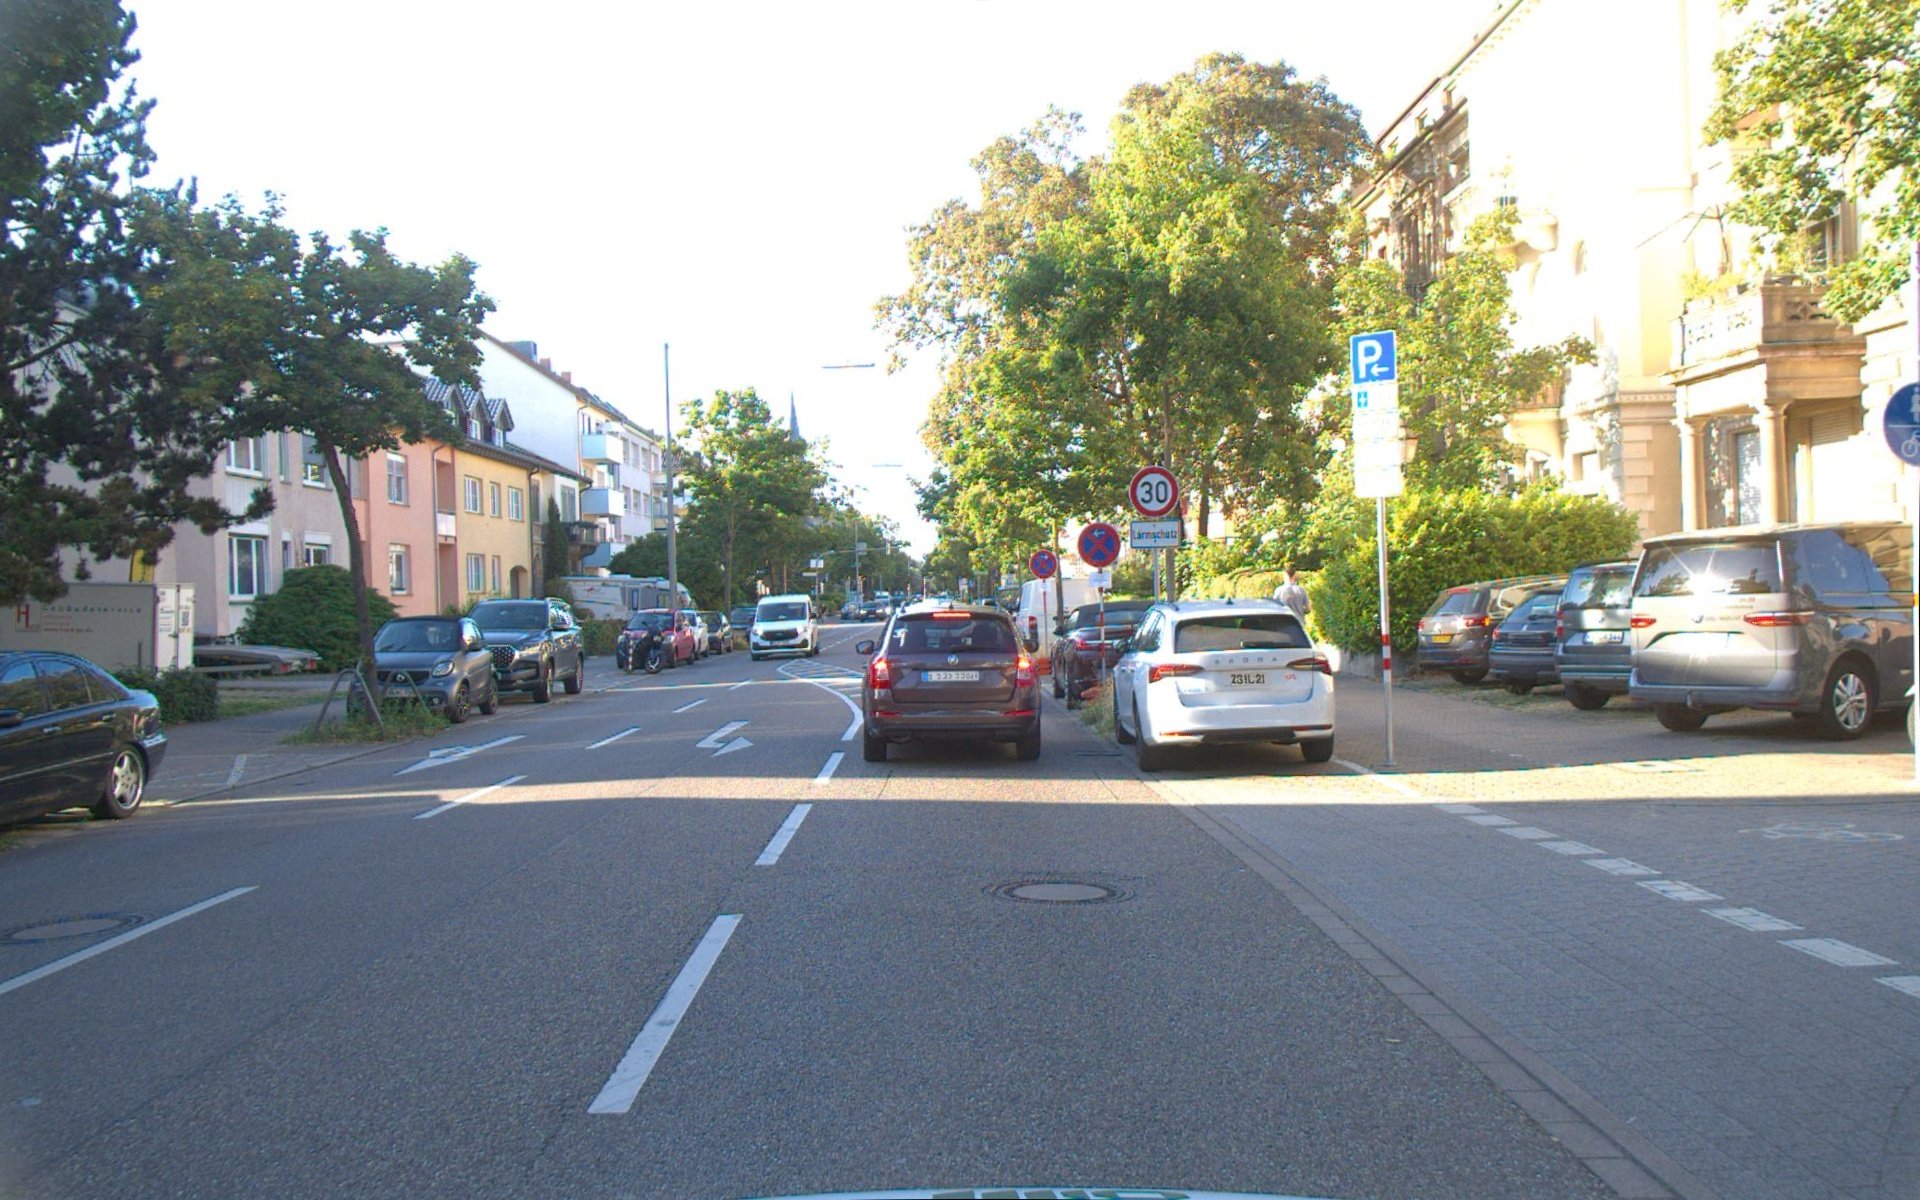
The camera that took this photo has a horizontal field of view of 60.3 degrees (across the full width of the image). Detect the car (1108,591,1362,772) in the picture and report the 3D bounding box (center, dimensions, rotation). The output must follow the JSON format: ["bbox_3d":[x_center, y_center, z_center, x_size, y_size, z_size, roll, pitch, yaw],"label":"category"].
[{"bbox_3d":[2.467,0.666,15.804,1.783,1.438,4.112,-2,0,1],"label":"car"}]

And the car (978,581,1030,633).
[{"bbox_3d":[1.646,0.250,62.987,1.695,1.846,3.949,-2,0,-2],"label":"car"}]

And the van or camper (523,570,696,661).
[{"bbox_3d":[-16.177,0.694,76.562,7.488,3.942,1.999,-2,0,-3],"label":"van or camper"}]

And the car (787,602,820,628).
[{"bbox_3d":[-9.173,0.860,97.319,1.630,1.457,3.274,-2,0,-1],"label":"car"}]

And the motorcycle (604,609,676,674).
[{"bbox_3d":[-7.855,1.014,40.554,0.760,1.538,1.998,-2,0,-43],"label":"motorcycle"}]

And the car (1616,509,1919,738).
[{"bbox_3d":[8.623,0.144,15.873,4.483,1.926,1.896,-2,0,-29],"label":"car"}]

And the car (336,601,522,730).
[{"bbox_3d":[-8.088,0.940,25.524,1.715,1.771,3.590,-2,0,-1],"label":"car"}]

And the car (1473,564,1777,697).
[{"bbox_3d":[8.800,0.362,21.874,3.748,1.552,1.501,-2,0,-23],"label":"car"}]

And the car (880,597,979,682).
[{"bbox_3d":[-0.657,0.730,32.793,1.696,1.520,3.947,-2,0,-5],"label":"car"}]

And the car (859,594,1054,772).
[{"bbox_3d":[-0.038,0.729,16.693,1.694,1.520,3.950,-2,0,0],"label":"car"}]

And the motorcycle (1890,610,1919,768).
[{"bbox_3d":[8.035,0.628,12.284,2.012,1.144,0.525,-2,0,-6],"label":"motorcycle"}]

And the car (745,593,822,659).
[{"bbox_3d":[-5.132,0.719,48.625,1.838,1.788,4.177,-2,0,-1],"label":"car"}]

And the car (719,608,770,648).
[{"bbox_3d":[-8.714,1.116,67.040,1.630,1.457,3.274,-2,0,-1],"label":"car"}]

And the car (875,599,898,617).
[{"bbox_3d":[-6.582,0.688,148.178,1.953,1.534,3.999,-2,0,-1],"label":"car"}]

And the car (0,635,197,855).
[{"bbox_3d":[-7.594,1.079,12.348,1.718,1.445,4.425,-2,0,0],"label":"car"}]

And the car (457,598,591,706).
[{"bbox_3d":[-7.892,0.893,30.223,1.476,1.788,3.693,-2,0,-1],"label":"car"}]

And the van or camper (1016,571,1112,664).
[{"bbox_3d":[2.439,0.380,39.704,1.953,2.049,3.999,-2,0,-1],"label":"van or camper"}]

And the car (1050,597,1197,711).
[{"bbox_3d":[2.301,0.721,24.231,1.783,1.438,4.112,-2,0,1],"label":"car"}]

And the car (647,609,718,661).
[{"bbox_3d":[-8.551,1.054,51.166,1.630,1.457,3.274,-2,0,-1],"label":"car"}]

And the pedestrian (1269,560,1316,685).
[{"bbox_3d":[4.956,0.327,24.660,0.524,1.825,0.687,-2,0,1],"label":"pedestrian"}]

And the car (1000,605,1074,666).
[{"bbox_3d":[2.114,0.954,46.210,1.695,1.520,3.949,-2,0,-2],"label":"car"}]

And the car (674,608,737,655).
[{"bbox_3d":[-8.539,1.037,55.711,1.630,1.457,3.274,-2,0,-1],"label":"car"}]

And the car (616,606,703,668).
[{"bbox_3d":[-8.208,0.981,45.483,1.630,1.538,4.177,-2,0,-1],"label":"car"}]

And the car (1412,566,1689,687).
[{"bbox_3d":[8.566,0.351,23.993,3.748,1.552,1.501,-2,0,-23],"label":"car"}]

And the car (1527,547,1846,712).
[{"bbox_3d":[8.492,0.291,19.253,3.761,1.708,1.496,-2,0,-31],"label":"car"}]

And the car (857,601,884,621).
[{"bbox_3d":[-7.049,0.845,130.394,1.953,1.534,3.999,-2,0,-1],"label":"car"}]

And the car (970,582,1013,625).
[{"bbox_3d":[1.414,0.146,75.475,1.695,1.846,3.949,-2,0,-2],"label":"car"}]

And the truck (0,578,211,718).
[{"bbox_3d":[-13.972,0.755,26.857,2.854,2.130,1.546,-2,0,-2],"label":"truck"}]
